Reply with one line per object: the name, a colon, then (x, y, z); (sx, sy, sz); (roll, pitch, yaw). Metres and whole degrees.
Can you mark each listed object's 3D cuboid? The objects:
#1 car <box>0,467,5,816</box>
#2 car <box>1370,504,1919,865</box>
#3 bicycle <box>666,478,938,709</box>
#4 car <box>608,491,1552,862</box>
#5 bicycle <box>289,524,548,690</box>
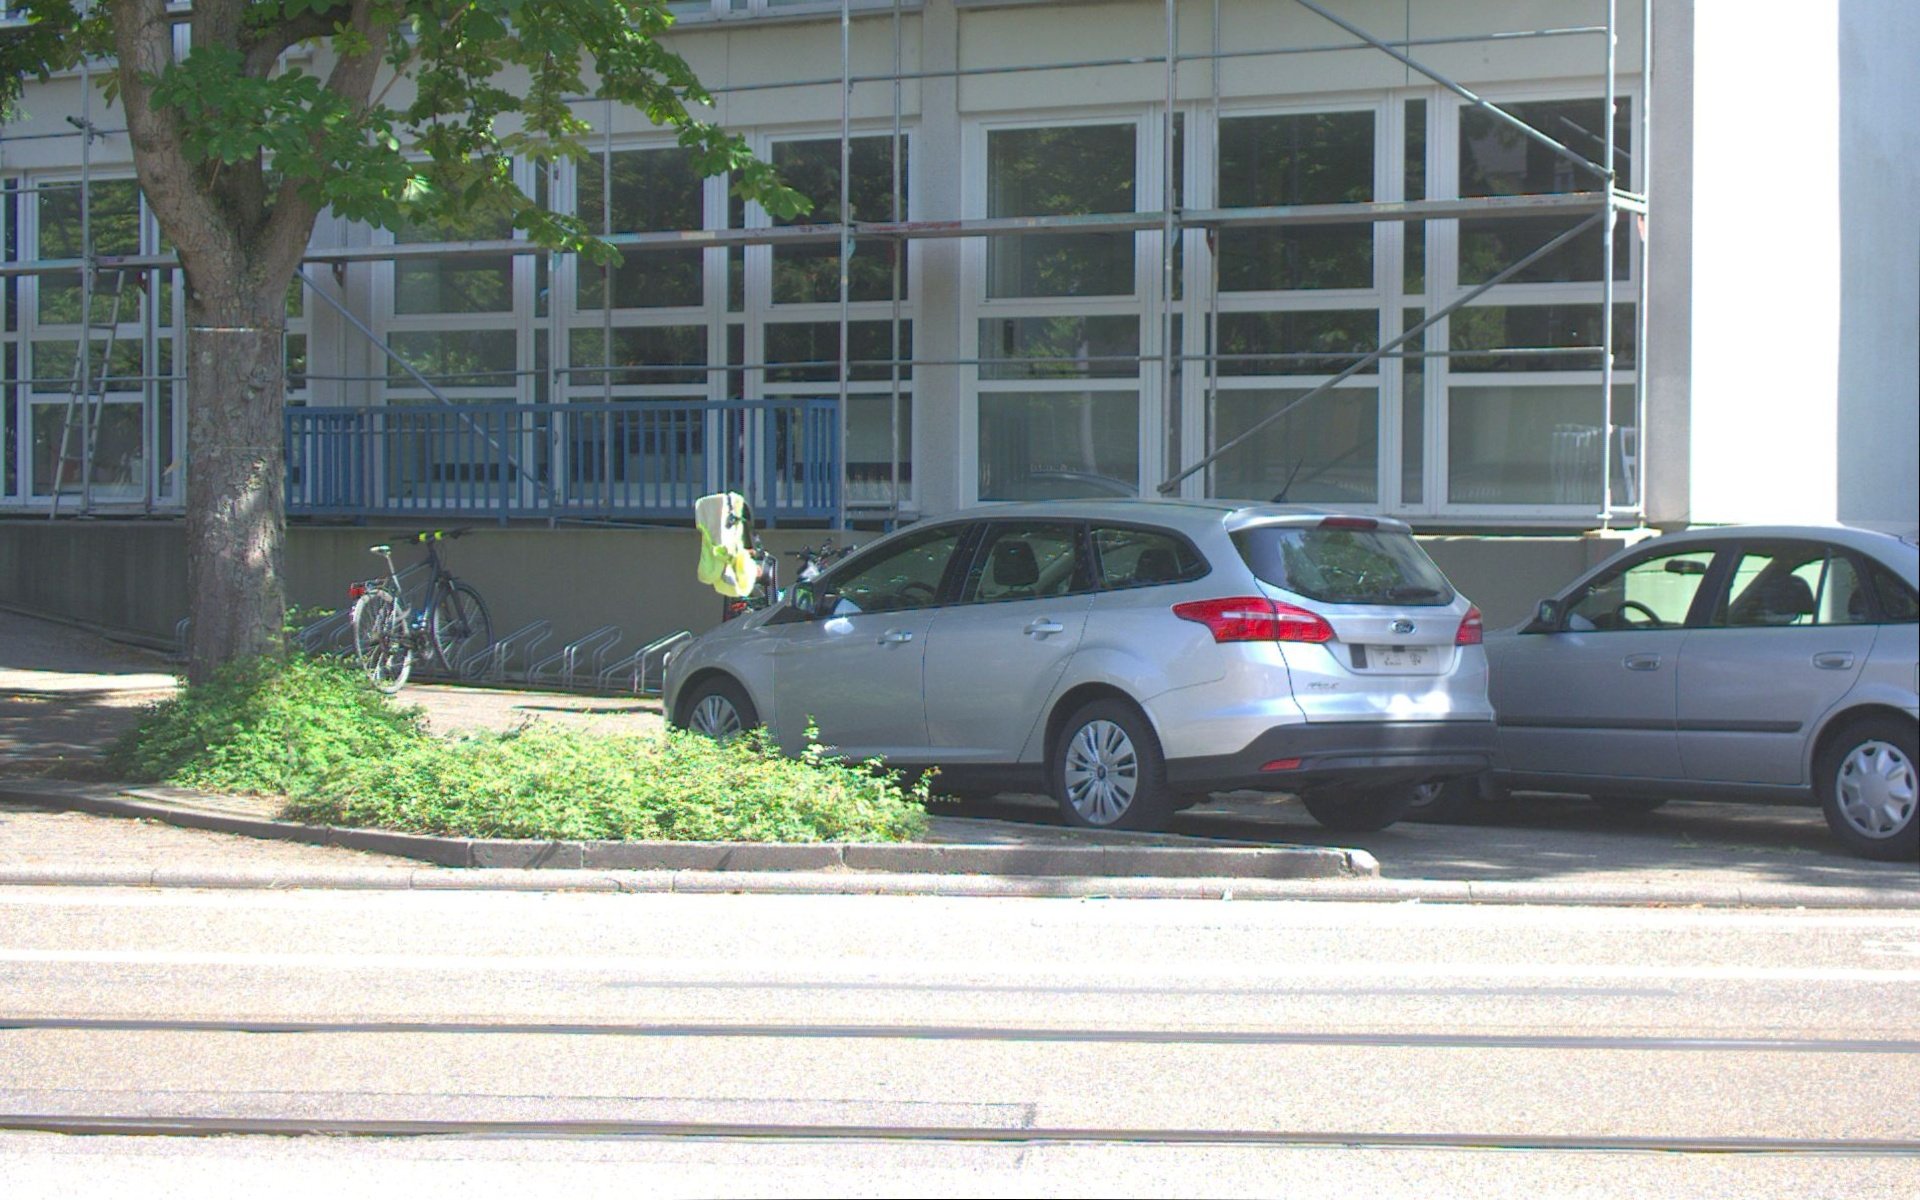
car: (-5.927, 0.154, 15.811); (1.572, 1.526, 3.457); (0, 1, -42)
car: (3.849, 0.319, 15.422); (1.608, 1.481, 3.944); (0, 1, -40)
bicycle: (-1.011, -0.059, 22.543); (0.662, 1.448, 2.086); (1, 1, 34)
car: (0.413, 0.256, 15.951); (1.779, 1.481, 4.433); (0, 1, -42)
bicycle: (-3.688, 0.028, 23.626); (0.742, 1.082, 2.201); (1, 1, 21)
